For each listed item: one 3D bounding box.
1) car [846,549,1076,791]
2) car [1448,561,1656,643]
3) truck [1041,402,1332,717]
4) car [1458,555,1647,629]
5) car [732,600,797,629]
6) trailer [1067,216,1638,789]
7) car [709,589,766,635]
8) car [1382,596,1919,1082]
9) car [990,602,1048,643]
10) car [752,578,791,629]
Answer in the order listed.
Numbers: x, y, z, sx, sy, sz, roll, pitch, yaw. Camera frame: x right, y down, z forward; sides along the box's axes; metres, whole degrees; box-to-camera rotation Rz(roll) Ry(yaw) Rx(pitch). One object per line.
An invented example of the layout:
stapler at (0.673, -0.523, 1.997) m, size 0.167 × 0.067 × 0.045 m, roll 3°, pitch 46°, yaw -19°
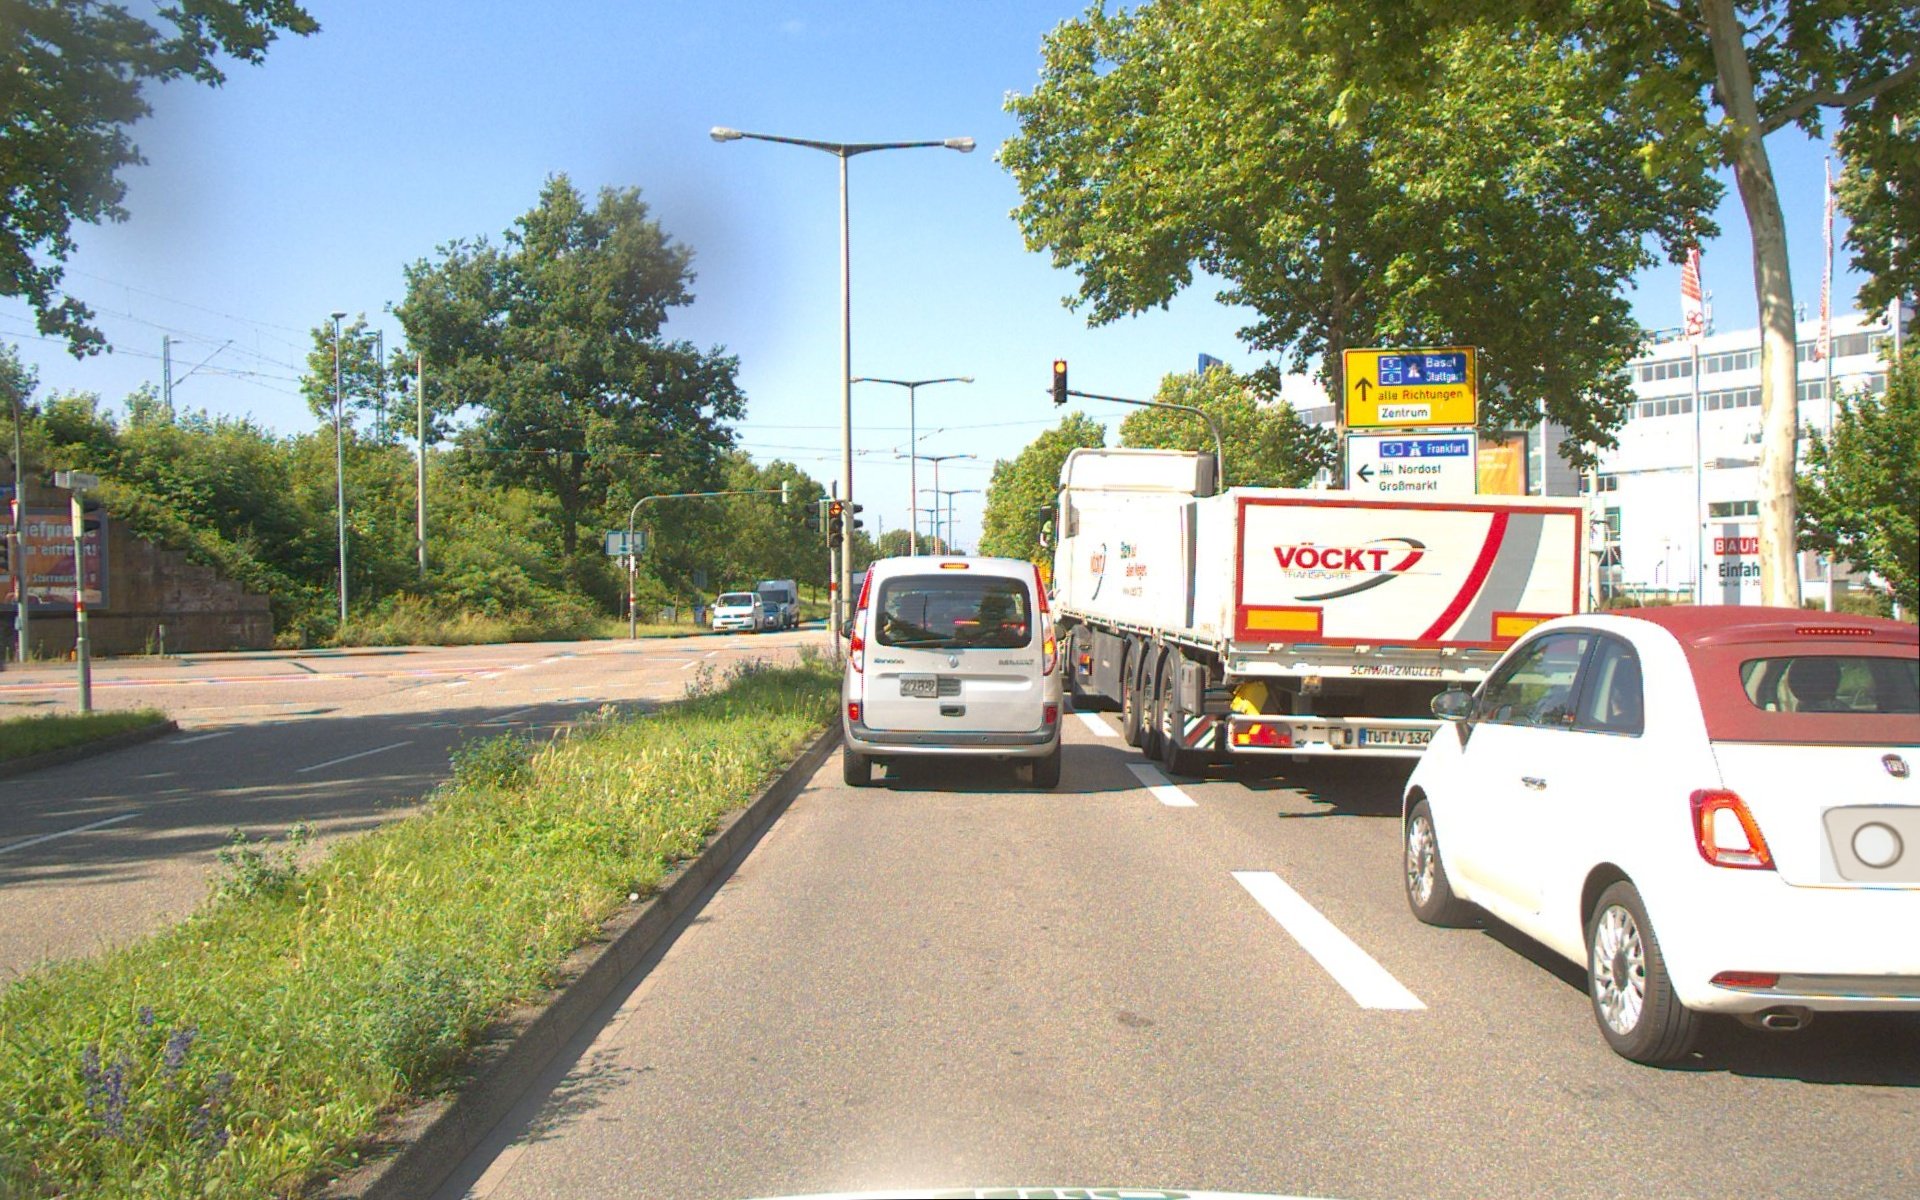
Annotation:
car at (-0.021, 0.527, 14.356) m, size 1.713 × 1.803 × 3.948 m, roll 0°, pitch 0°, yaw -1°
car at (12.658, 0.039, 35.522) m, size 3.903 × 1.691 × 1.724 m, roll 0°, pitch 0°, yaw 5°
truck at (2.958, -0.480, 23.924) m, size 3.009 × 3.824 × 7.474 m, roll 0°, pitch 0°, yaw -1°
car at (13.954, -0.183, 39.143) m, size 3.903 × 1.691 × 1.724 m, roll 0°, pitch 0°, yaw 5°
car at (-9.840, 0.702, 83.019) m, size 1.889 × 1.433 × 4.190 m, roll 0°, pitch 0°, yaw -27°
trailer at (3.013, -0.634, 17.139) m, size 2.954 × 3.806 × 12.238 m, roll 0°, pitch 0°, yaw 0°
car at (-10.045, 0.534, 75.010) m, size 1.953 × 1.924 × 4.986 m, roll -3°, pitch 0°, yaw -1°
car at (2.965, 0.727, 6.748) m, size 1.627 × 1.461 × 3.520 m, roll 0°, pitch 0°, yaw 1°
car at (2.459, 0.917, 69.983) m, size 1.955 × 1.668 × 3.995 m, roll 0°, pitch 0°, yaw -6°
car at (-10.342, 0.194, 90.878) m, size 2.019 × 2.660 × 5.861 m, roll 0°, pitch 0°, yaw -6°
